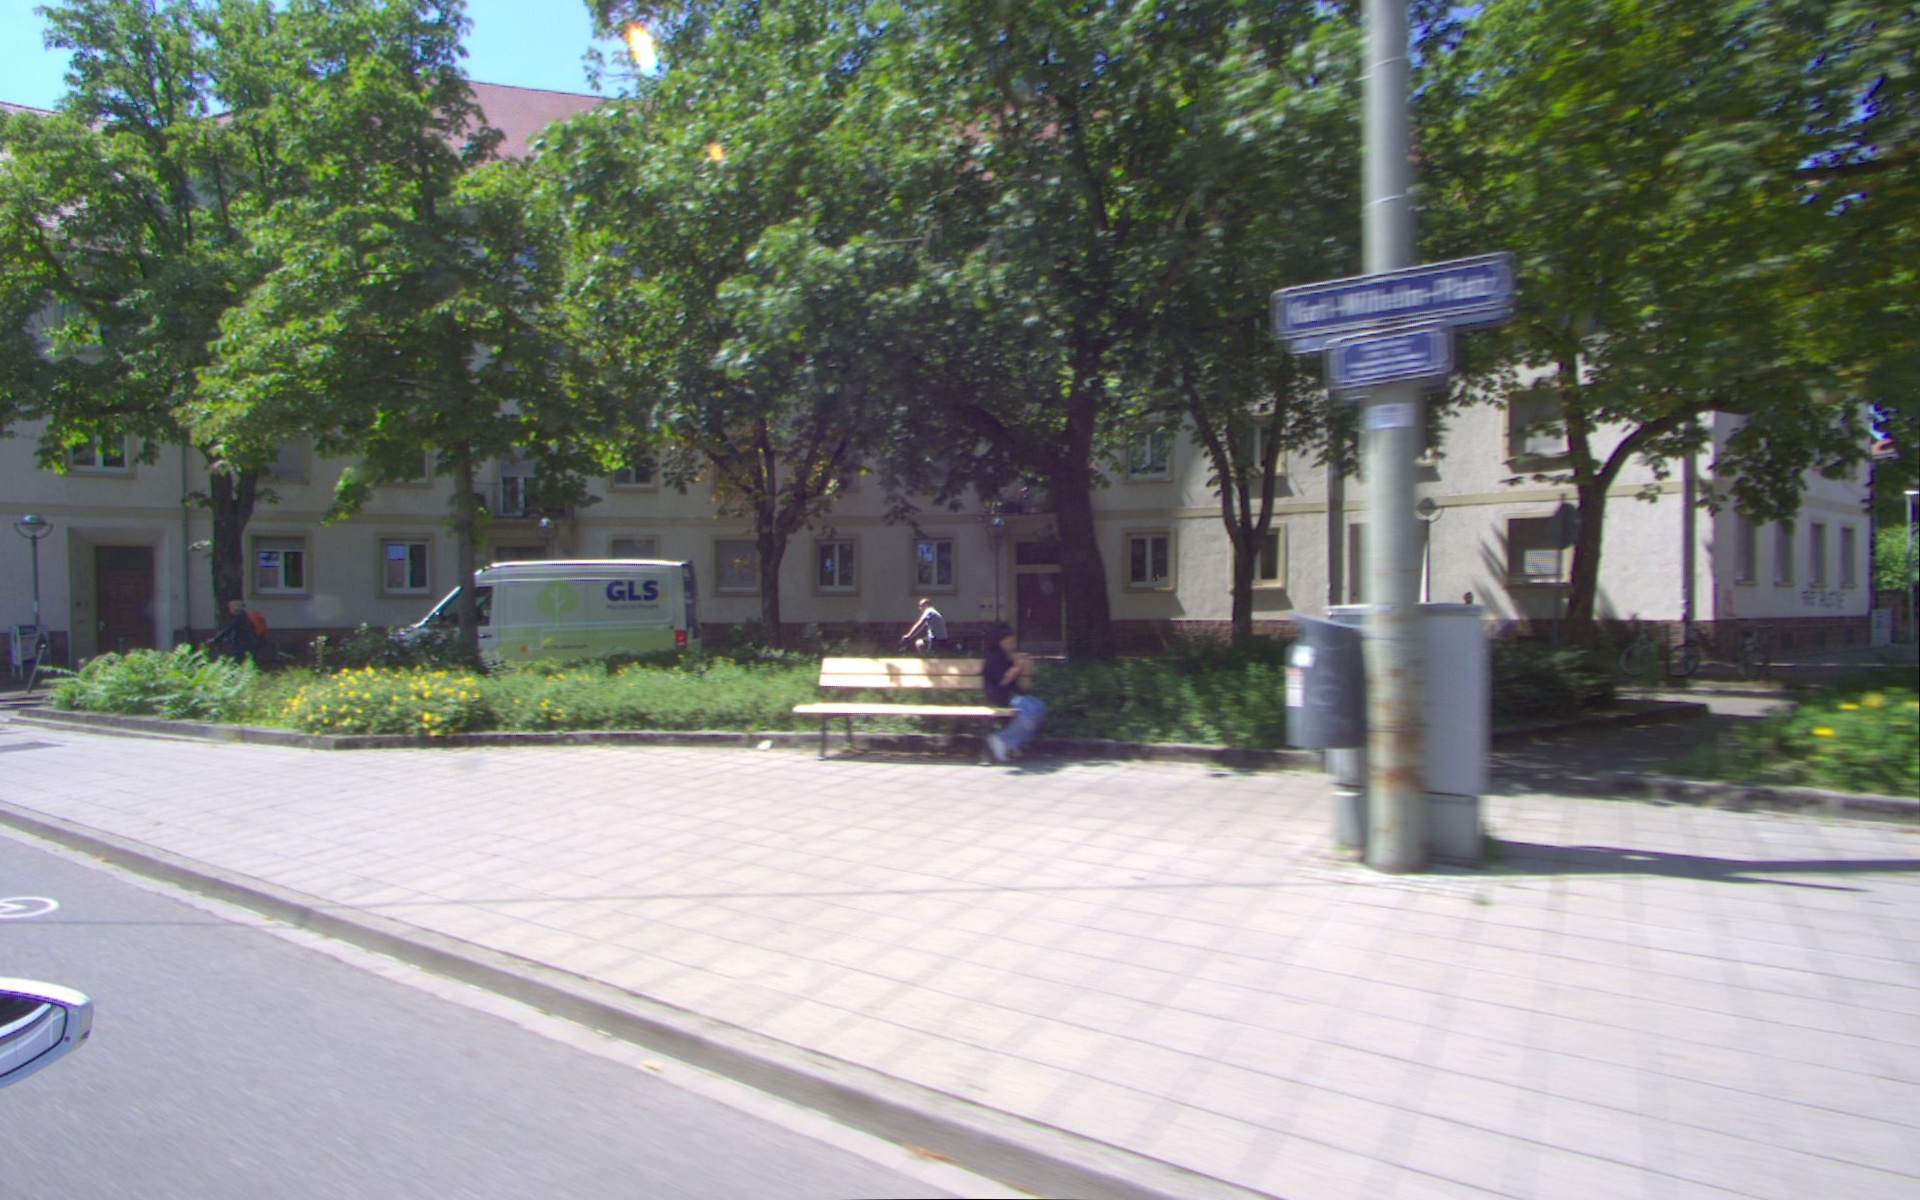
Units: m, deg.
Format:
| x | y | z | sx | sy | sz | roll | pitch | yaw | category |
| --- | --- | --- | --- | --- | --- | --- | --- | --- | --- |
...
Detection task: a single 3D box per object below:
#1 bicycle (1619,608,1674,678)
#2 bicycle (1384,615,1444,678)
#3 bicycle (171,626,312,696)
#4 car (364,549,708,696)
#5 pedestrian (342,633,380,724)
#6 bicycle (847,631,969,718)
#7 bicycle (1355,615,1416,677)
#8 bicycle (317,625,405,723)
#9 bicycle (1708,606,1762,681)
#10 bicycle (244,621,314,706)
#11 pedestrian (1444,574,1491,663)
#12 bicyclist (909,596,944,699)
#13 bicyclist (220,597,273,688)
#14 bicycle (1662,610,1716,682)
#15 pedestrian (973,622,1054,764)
| x | y | z | sx | sy | sz | roll | pitch | yaw | category |
| --- | --- | --- | --- | --- | --- | --- | --- | --- | --- |
| 13.737 | 0.842 | 20.019 | 0.542 | 1.317 | 2.139 | -1 | -1 | 44 | bicycle |
| 10.318 | 1.040 | 22.739 | 0.510 | 1.364 | 2.223 | -1 | -1 | 44 | bicycle |
| -13.369 | 1.125 | 18.708 | 2.054 | 1.252 | 0.579 | 0 | -1 | -24 | bicycle |
| -7.906 | 0.432 | 19.225 | 5.738 | 2.623 | 2.000 | 0 | -1 | -7 | car |
| -8.791 | 1.142 | 14.702 | 0.345 | 1.301 | 0.365 | -1 | -1 | 32 | pedestrian |
| -0.942 | 1.319 | 18.042 | 2.128 | 1.504 | 0.593 | 0 | -1 | -12 | bicycle |
| 9.886 | 1.045 | 23.209 | 0.510 | 1.361 | 2.307 | -1 | -1 | 44 | bicycle |
| -8.832 | 1.066 | 14.741 | 1.809 | 1.377 | 0.351 | -1 | -1 | 33 | bicycle |
| 14.384 | 0.785 | 18.559 | 0.542 | 1.317 | 2.139 | -1 | -1 | 44 | bicycle |
| -9.512 | 0.889 | 13.980 | 1.269 | 1.141 | 0.332 | -3 | -2 | 33 | bicycle |
| 11.858 | 0.442 | 23.385 | 0.800 | 2.039 | 0.765 | 0 | -1 | -45 | pedestrian |
| -0.612 | 0.845 | 18.093 | 0.524 | 1.823 | 0.603 | 0 | -1 | -13 | bicyclist |
| -13.332 | 0.786 | 18.727 | 0.684 | 1.667 | 0.578 | 0 | -1 | -24 | bicyclist |
| 14.139 | 0.873 | 19.393 | 0.542 | 1.317 | 2.139 | -1 | -1 | 44 | bicycle |
| 0.447 | 0.755 | 8.346 | 0.472 | 1.107 | 0.507 | 1 | 3 | 39 | pedestrian |
